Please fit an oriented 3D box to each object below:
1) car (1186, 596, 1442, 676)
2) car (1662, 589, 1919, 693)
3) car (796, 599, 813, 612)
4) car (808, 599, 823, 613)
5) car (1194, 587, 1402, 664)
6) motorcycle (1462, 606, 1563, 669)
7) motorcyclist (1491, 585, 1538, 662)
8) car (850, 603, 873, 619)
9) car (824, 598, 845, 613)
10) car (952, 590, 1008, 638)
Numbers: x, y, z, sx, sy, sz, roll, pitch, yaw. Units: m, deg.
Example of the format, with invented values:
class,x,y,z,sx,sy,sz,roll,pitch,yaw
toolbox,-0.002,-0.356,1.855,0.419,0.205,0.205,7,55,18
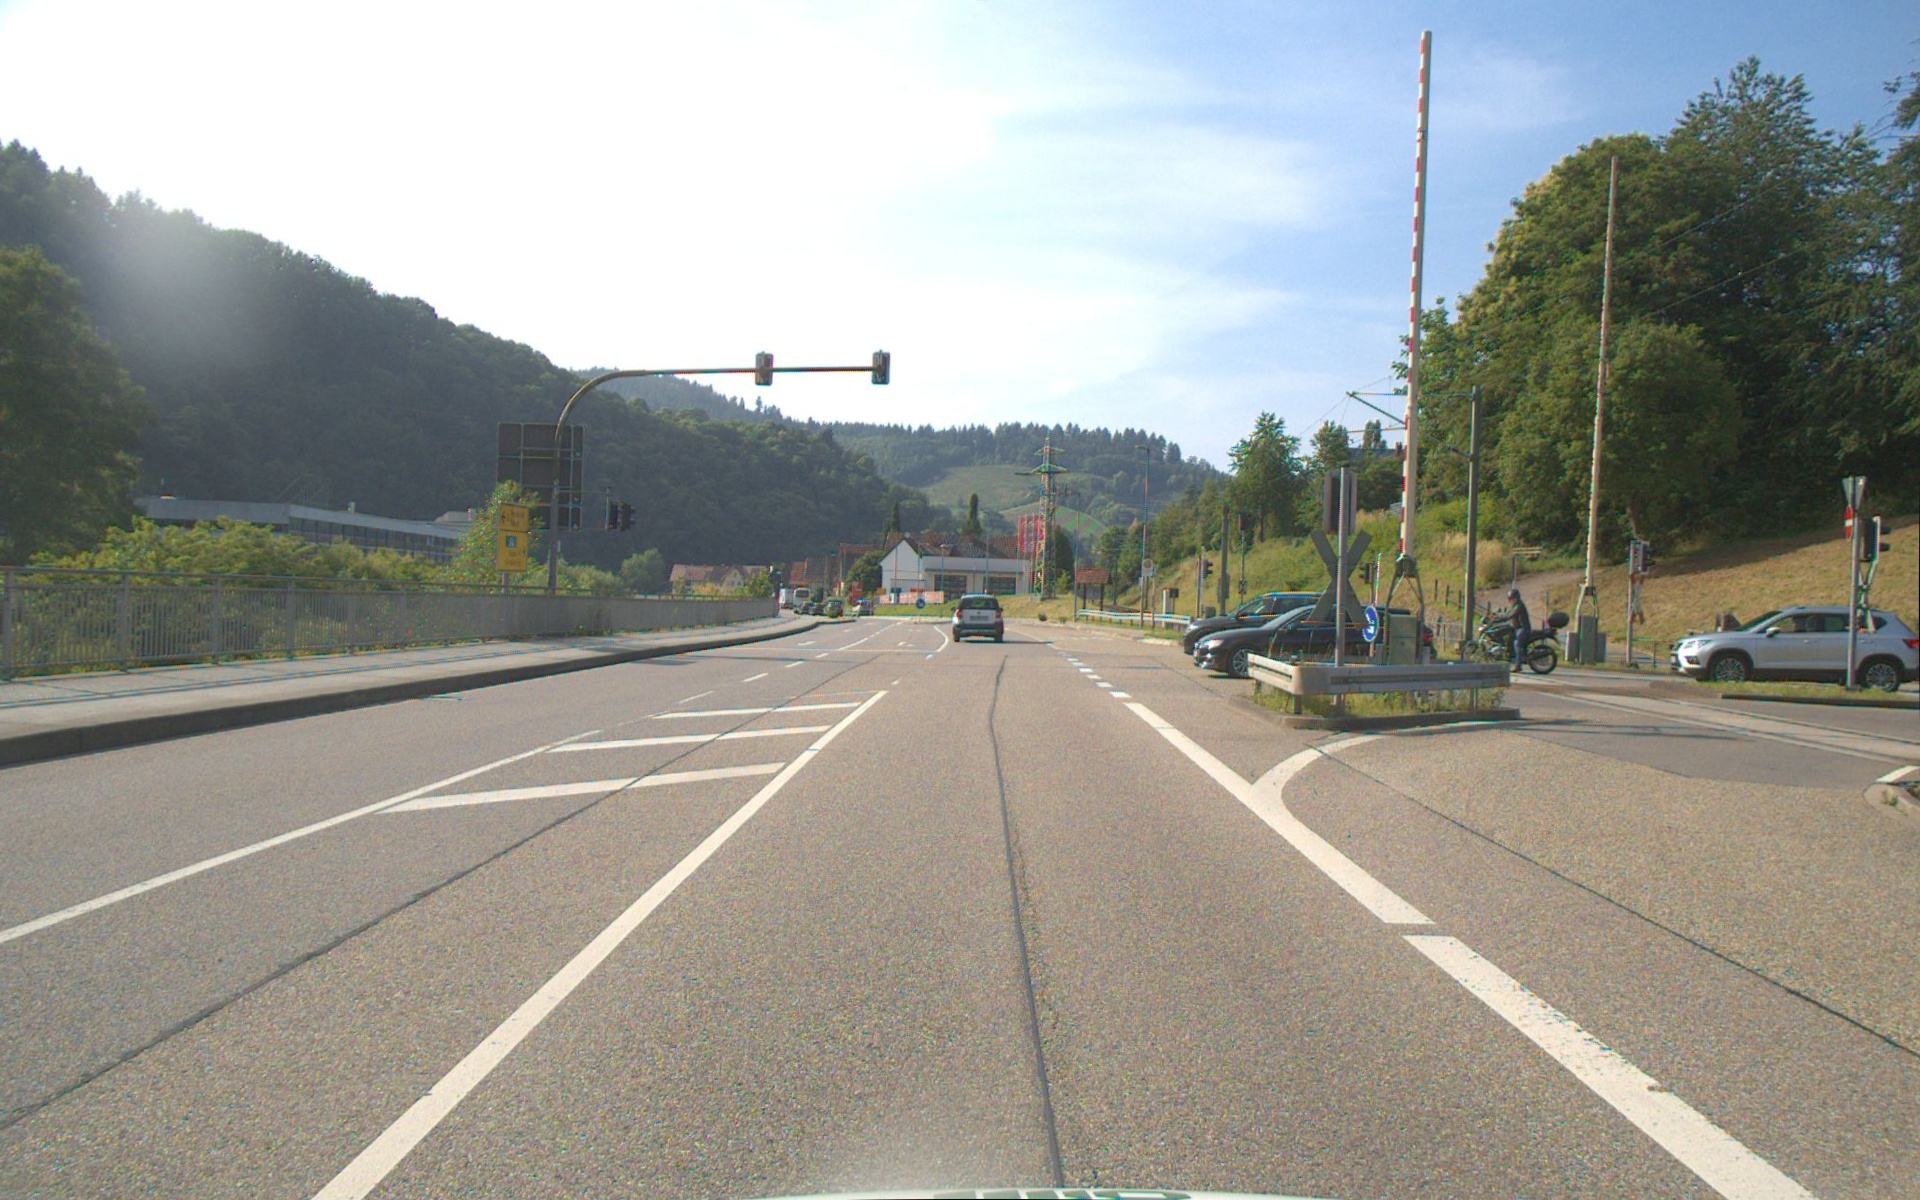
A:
class,x,y,z,sx,sy,sz,roll,pitch,yaw
car,6.800,0.671,32.146,4.627,1.495,1.842,0,0,3
car,15.707,0.746,31.449,4.025,1.716,1.836,2,0,13
car,-19.150,0.702,204.156,1.431,1.460,2.920,2,1,-18
car,-16.399,0.659,187.789,1.214,1.460,2.627,0,1,-18
car,7.890,0.565,38.477,4.626,1.689,1.932,1,0,15
motorcycle,12.086,0.804,36.219,2.049,1.276,0.799,2,0,18
motorcyclist,12.135,0.509,36.215,0.887,1.624,0.766,2,0,17
car,-9.451,1.032,158.429,1.431,1.460,2.922,2,1,-17
car,-13.237,0.604,174.419,1.431,1.460,2.920,2,1,-18
car,0.749,0.524,59.085,1.822,1.571,4.374,2,-1,2
